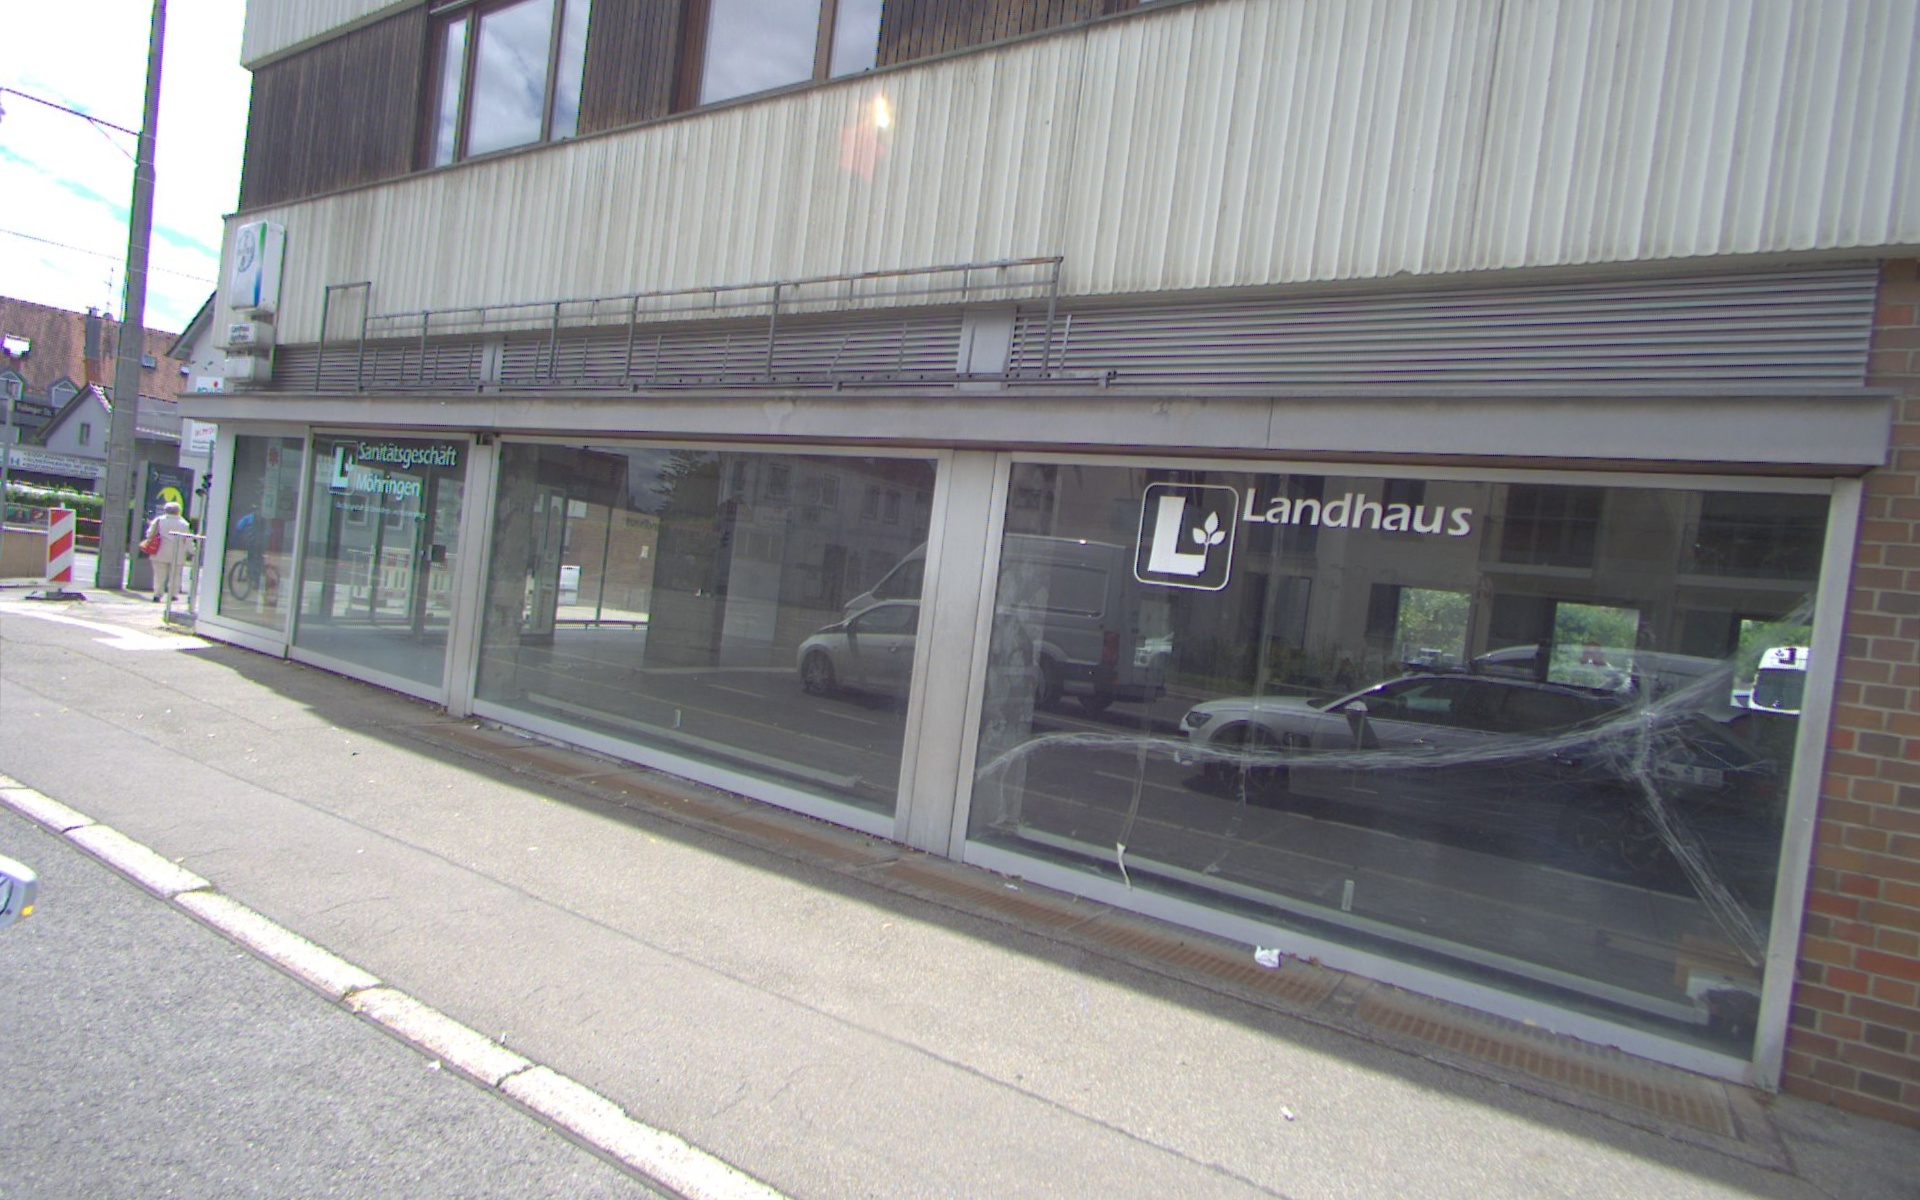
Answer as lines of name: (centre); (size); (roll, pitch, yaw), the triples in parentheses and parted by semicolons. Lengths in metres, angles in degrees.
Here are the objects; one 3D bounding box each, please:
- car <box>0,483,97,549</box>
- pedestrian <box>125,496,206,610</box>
car: (-35.297, -3.259, 37.596); (1.964, 2.037, 4.000); (7, -1, 23)
pedestrian: (-12.572, -0.747, 15.908); (0.831, 1.657, 0.863); (7, 0, -42)
